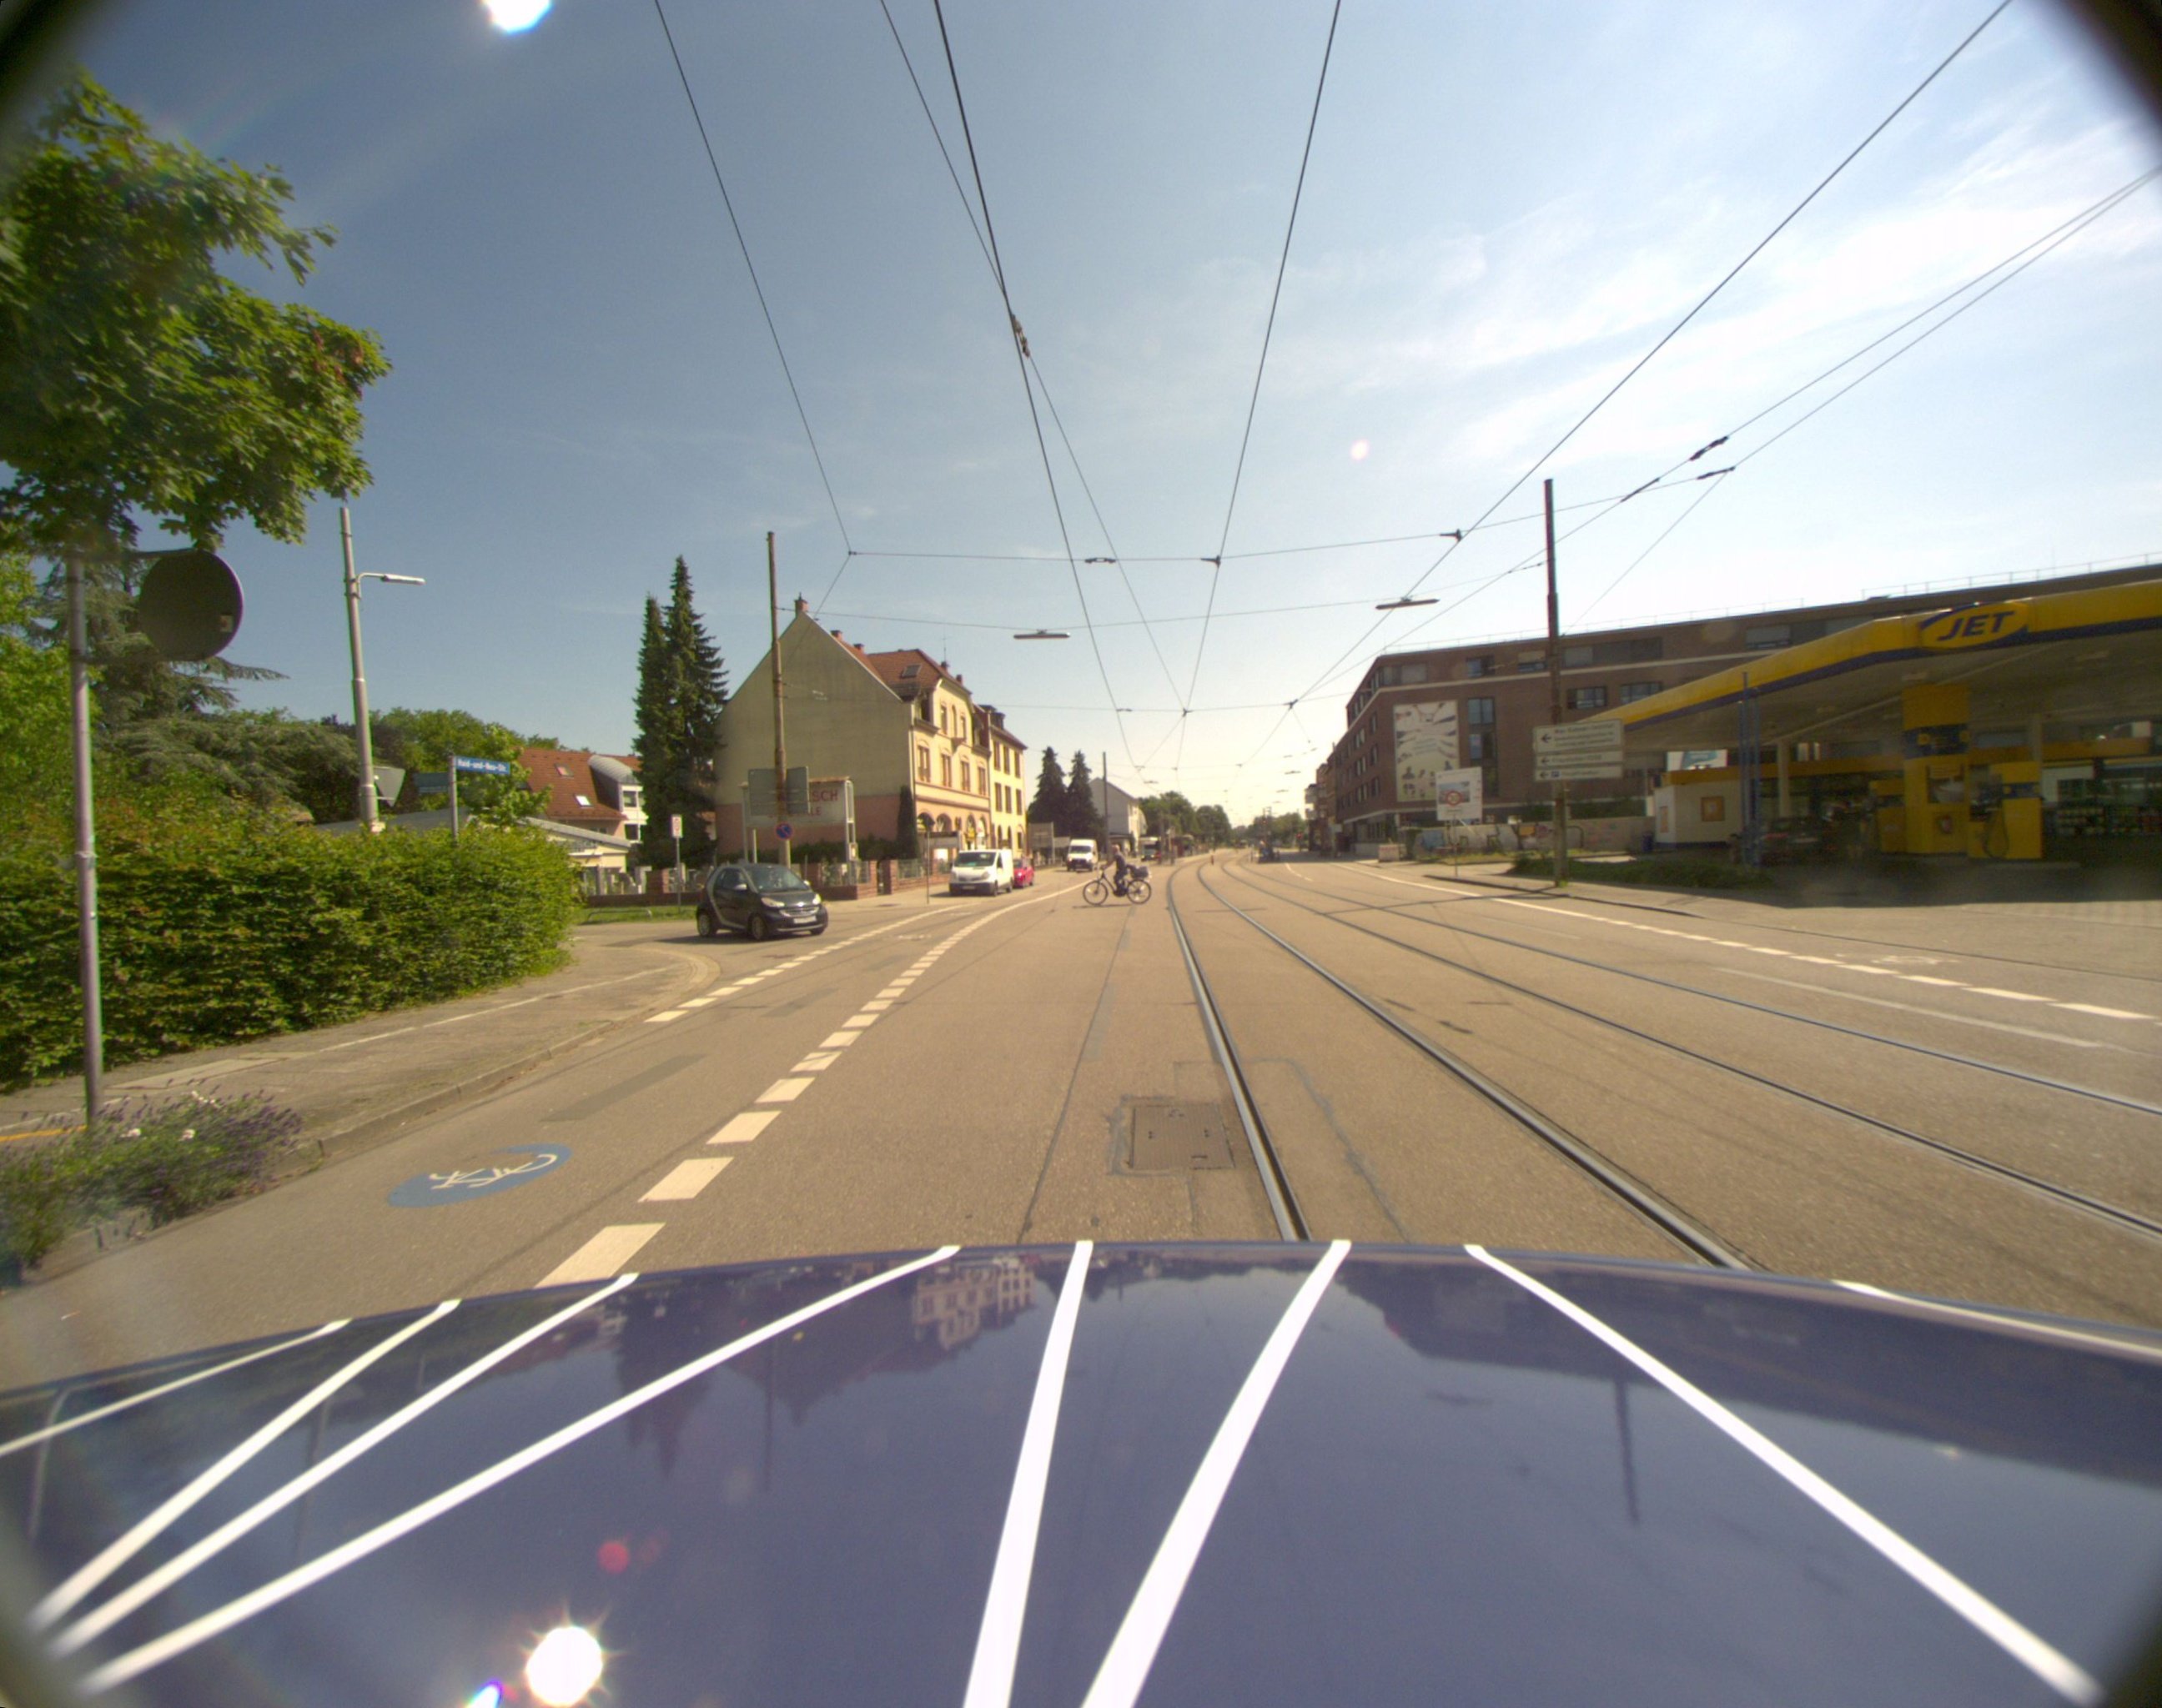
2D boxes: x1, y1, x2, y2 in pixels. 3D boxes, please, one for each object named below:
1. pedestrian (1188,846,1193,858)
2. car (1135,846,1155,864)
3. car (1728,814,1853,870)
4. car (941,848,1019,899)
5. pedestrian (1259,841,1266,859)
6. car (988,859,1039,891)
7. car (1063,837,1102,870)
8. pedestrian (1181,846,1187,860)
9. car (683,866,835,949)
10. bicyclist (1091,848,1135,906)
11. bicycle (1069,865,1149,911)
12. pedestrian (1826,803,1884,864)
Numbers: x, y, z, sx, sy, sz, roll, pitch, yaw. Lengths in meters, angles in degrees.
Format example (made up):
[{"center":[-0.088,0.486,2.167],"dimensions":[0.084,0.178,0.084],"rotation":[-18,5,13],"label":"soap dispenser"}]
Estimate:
[{"center":[15.075,-0.265,104.742],"dimensions":[0.416,1.680,0.707],"rotation":[-3,1,-1],"label":"pedestrian"},{"center":[7.723,0.102,91.287],"dimensions":[1.997,2.002,4.002],"rotation":[-2,1,10],"label":"car"},{"center":[22.111,-0.360,23.887],"dimensions":[1.757,1.446,4.417],"rotation":[-6,-2,29],"label":"car"},{"center":[-4.179,0.753,32.366],"dimensions":[2.088,2.002,4.910],"rotation":[-1,0,7],"label":"car"},{"center":[18.079,-0.396,75.627],"dimensions":[0.557,1.750,0.794],"rotation":[-3,1,7],"label":"pedestrian"},{"center":[-3.355,1.037,38.474],"dimensions":[1.723,1.398,4.003],"rotation":[-3,0,6],"label":"car"},{"center":[0.193,-0.055,61.361],"dimensions":[2.334,2.521,6.509],"rotation":[0,1,7],"label":"car"},{"center":[12.736,-0.170,94.126],"dimensions":[0.707,1.680,0.416],"rotation":[-2,1,5],"label":"pedestrian"},{"center":[-6.761,1.072,15.905],"dimensions":[2.968,1.530,1.482],"rotation":[-2,1,34],"label":"car"},{"center":[0.912,0.637,21.433],"dimensions":[0.962,1.586,0.907],"rotation":[-2,1,18],"label":"bicyclist"},{"center":[0.790,0.963,21.515],"dimensions":[2.119,1.190,0.612],"rotation":[-3,1,19],"label":"bicycle"},{"center":[22.458,-0.586,22.057],"dimensions":[0.857,1.715,0.745],"rotation":[-3,1,8],"label":"pedestrian"}]
